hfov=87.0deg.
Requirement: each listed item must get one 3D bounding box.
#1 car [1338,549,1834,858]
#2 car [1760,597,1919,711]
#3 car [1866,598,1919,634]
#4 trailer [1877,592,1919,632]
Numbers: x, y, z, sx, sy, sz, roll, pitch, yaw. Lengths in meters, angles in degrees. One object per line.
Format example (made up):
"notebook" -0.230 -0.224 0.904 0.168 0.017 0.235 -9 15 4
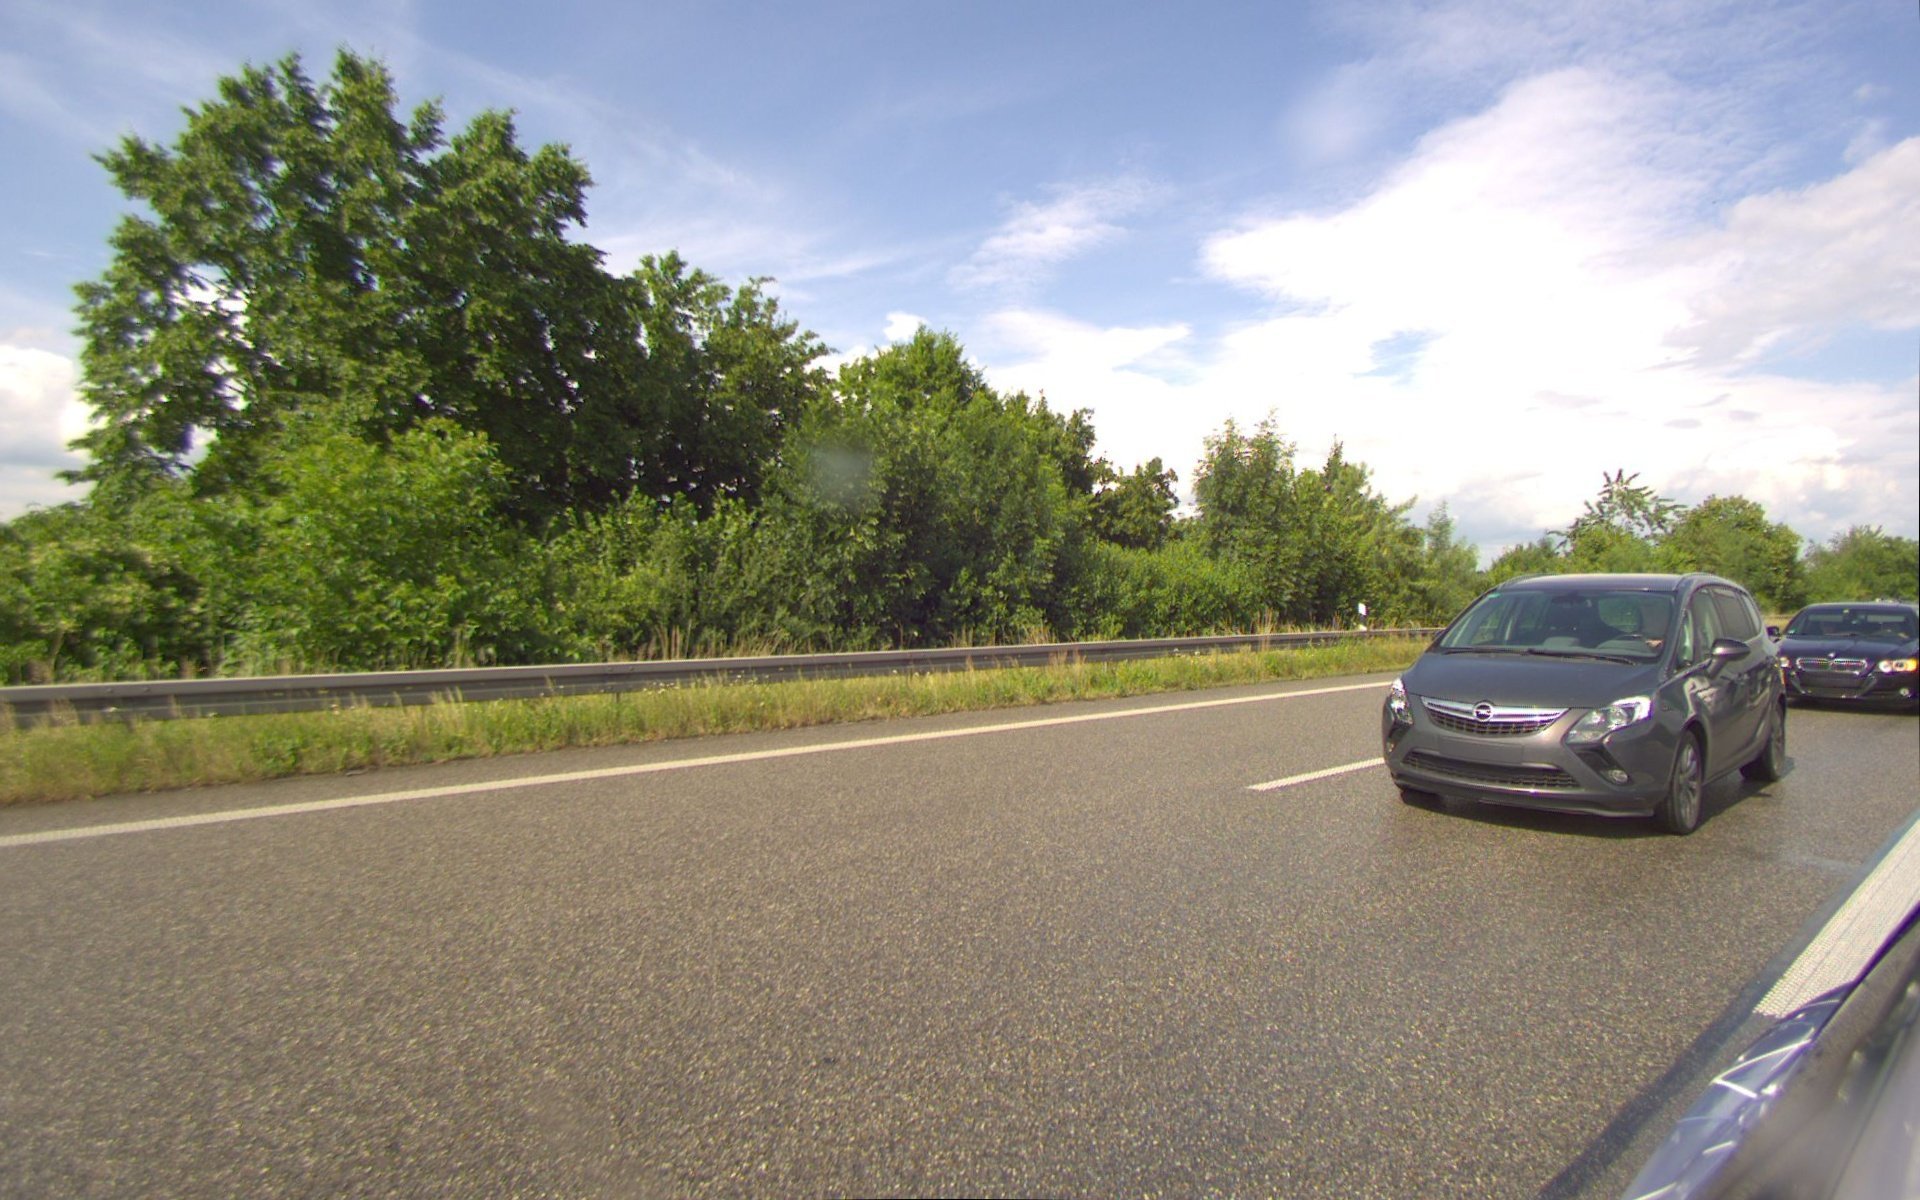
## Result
"car" 4.927 0.535 7.649 4.652 1.652 1.857 0 1 -40
"car" 12.698 0.659 14.122 3.816 1.371 1.721 0 0 -41
"car" 40.625 0.665 43.785 4.330 1.449 1.745 0 1 -43
"trailer" 43.650 0.504 46.558 3.899 1.768 1.808 0 0 -42
